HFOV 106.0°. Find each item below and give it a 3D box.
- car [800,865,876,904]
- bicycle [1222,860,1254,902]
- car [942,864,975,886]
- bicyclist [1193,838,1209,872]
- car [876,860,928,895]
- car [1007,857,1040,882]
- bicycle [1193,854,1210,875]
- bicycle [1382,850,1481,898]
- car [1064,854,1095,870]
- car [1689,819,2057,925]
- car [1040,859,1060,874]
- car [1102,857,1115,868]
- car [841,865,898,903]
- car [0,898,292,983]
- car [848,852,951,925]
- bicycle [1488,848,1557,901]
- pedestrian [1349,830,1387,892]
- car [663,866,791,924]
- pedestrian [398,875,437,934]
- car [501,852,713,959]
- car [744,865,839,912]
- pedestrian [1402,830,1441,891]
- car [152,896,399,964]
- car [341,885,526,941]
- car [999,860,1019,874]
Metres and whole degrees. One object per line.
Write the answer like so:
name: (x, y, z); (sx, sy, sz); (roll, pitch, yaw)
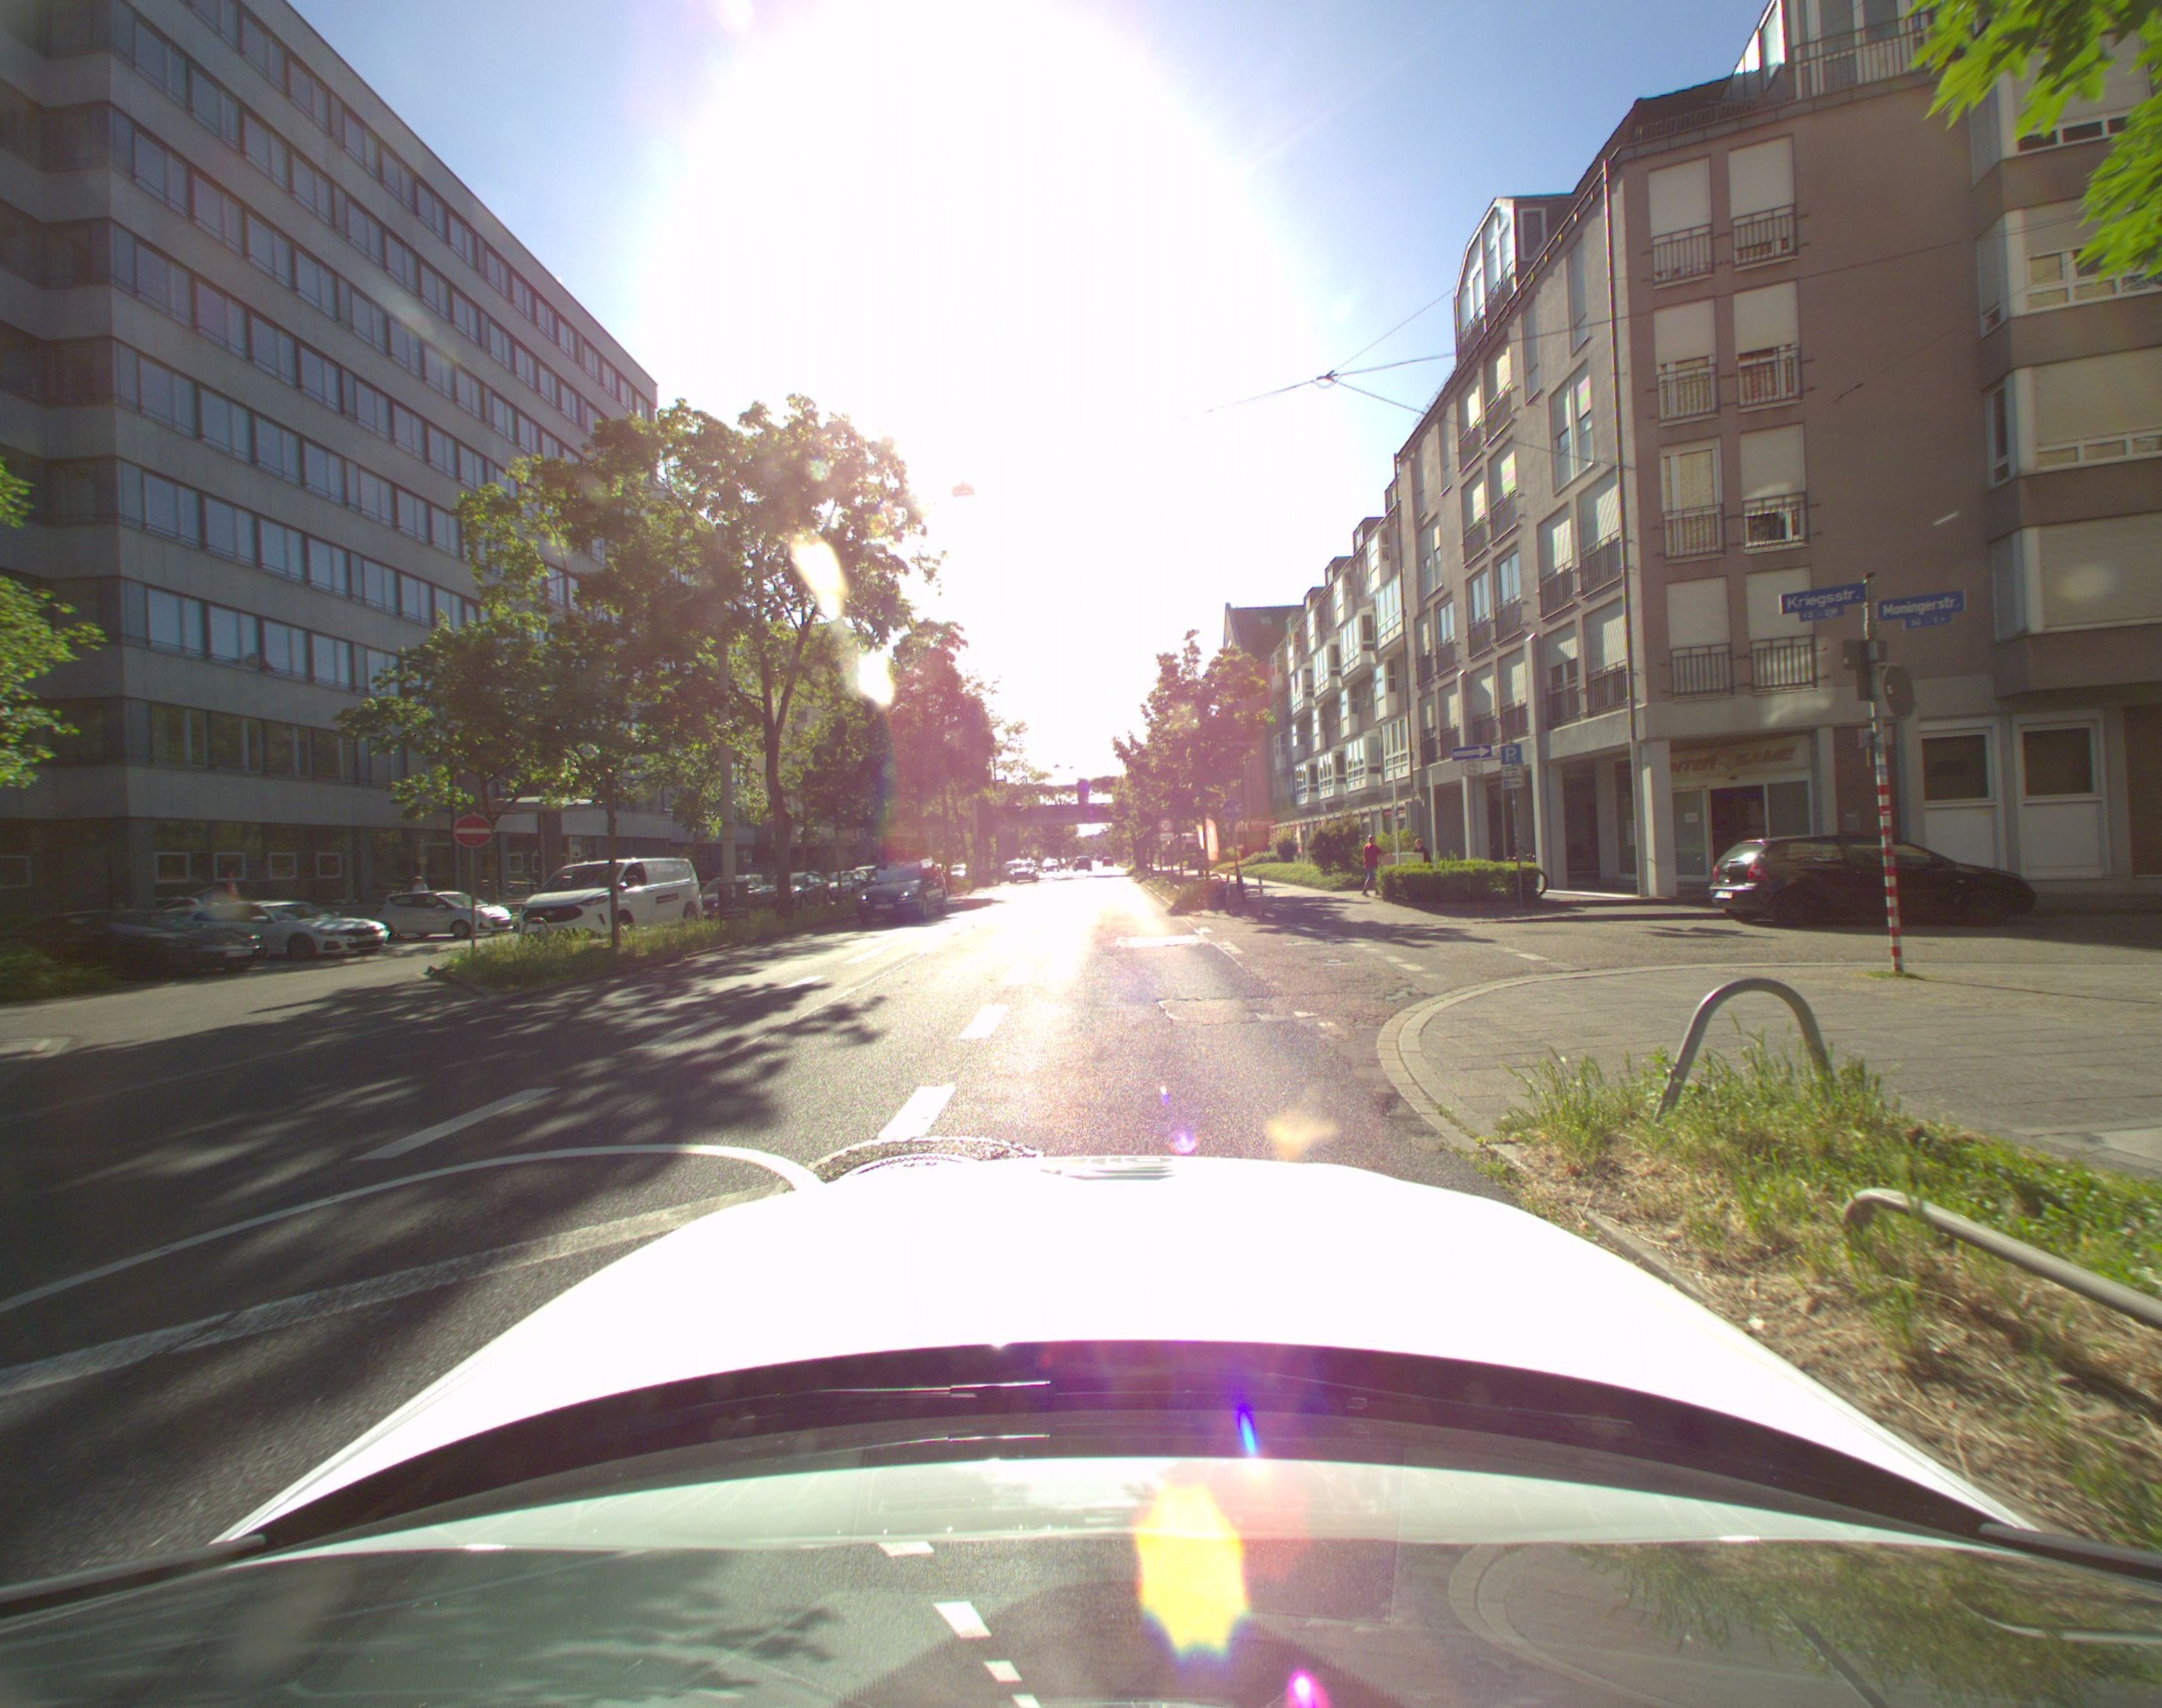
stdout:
car: (-10.464, 1.279, 35.374); (1.848, 1.523, 4.066); (-2, 0, 3)
bicycle: (4.449, 0.740, 23.018); (0.586, 1.066, 2.032); (-2, 0, 18)
car: (-9.589, 1.619, 64.031); (1.849, 1.523, 4.319); (-2, 0, 1)
bicyclist: (6.105, 0.033, 41.486); (0.665, 1.695, 0.889); (-2, -1, 1)
car: (-10.132, 1.292, 46.394); (1.849, 1.850, 4.562); (-2, 0, 1)
car: (-4.066, 1.059, 58.309); (1.849, 1.568, 4.716); (-4, 0, 1)
bicycle: (6.129, 0.558, 41.537); (0.587, 1.027, 1.860); (-2, -1, 1)
bicycle: (8.938, 0.501, 20.841); (2.186, 1.027, 0.688); (-4, 2, 3)
car: (-0.197, 0.864, 85.089); (1.991, 1.600, 4.114); (-2, 0, -18)
car: (12.699, 0.303, 13.381); (3.915, 1.523, 1.869); (-2, 0, 14)
car: (-3.337, 1.312, 87.872); (1.849, 1.439, 4.319); (-4, 0, 1)
car: (4.056, 1.181, 120.355); (1.848, 1.523, 4.322); (-2, 0, 3)
car: (-10.405, 1.430, 40.472); (1.852, 1.684, 4.658); (-2, 0, -4)
car: (-20.107, 1.816, 17.449); (4.646, 1.513, 2.012); (-2, 0, 6)
car: (-5.196, 0.928, 24.024); (1.850, 1.825, 4.610); (-4, 0, 0)
bicycle: (10.073, 0.444, 18.670); (0.681, 1.027, 2.209); (-4, 2, 10)
pedestrian: (7.837, 0.197, 22.260); (0.652, 1.604, 0.602); (-5, -1, -4)
car: (-10.644, 1.166, 24.893); (1.774, 1.523, 4.322); (-2, 0, 3)
pedestrian: (-24.270, 1.836, 29.791); (0.768, 2.093, 0.792); (-1, -1, 3)
car: (-11.044, 1.094, 19.569); (1.975, 2.076, 5.194); (-4, 0, -1)
car: (-10.586, 1.202, 30.138); (1.849, 1.523, 4.319); (-2, 0, 1)
pedestrian: (9.451, 0.181, 22.606); (0.652, 1.604, 0.602); (-5, -1, -4)
car: (-20.263, 1.888, 20.594); (4.589, 1.442, 1.941); (-2, 0, 6)
car: (-20.538, 1.841, 25.977); (4.292, 1.523, 1.861); (-2, 0, -2)
car: (-8.614, 1.523, 97.600); (1.849, 1.523, 4.077); (-2, 0, 1)
